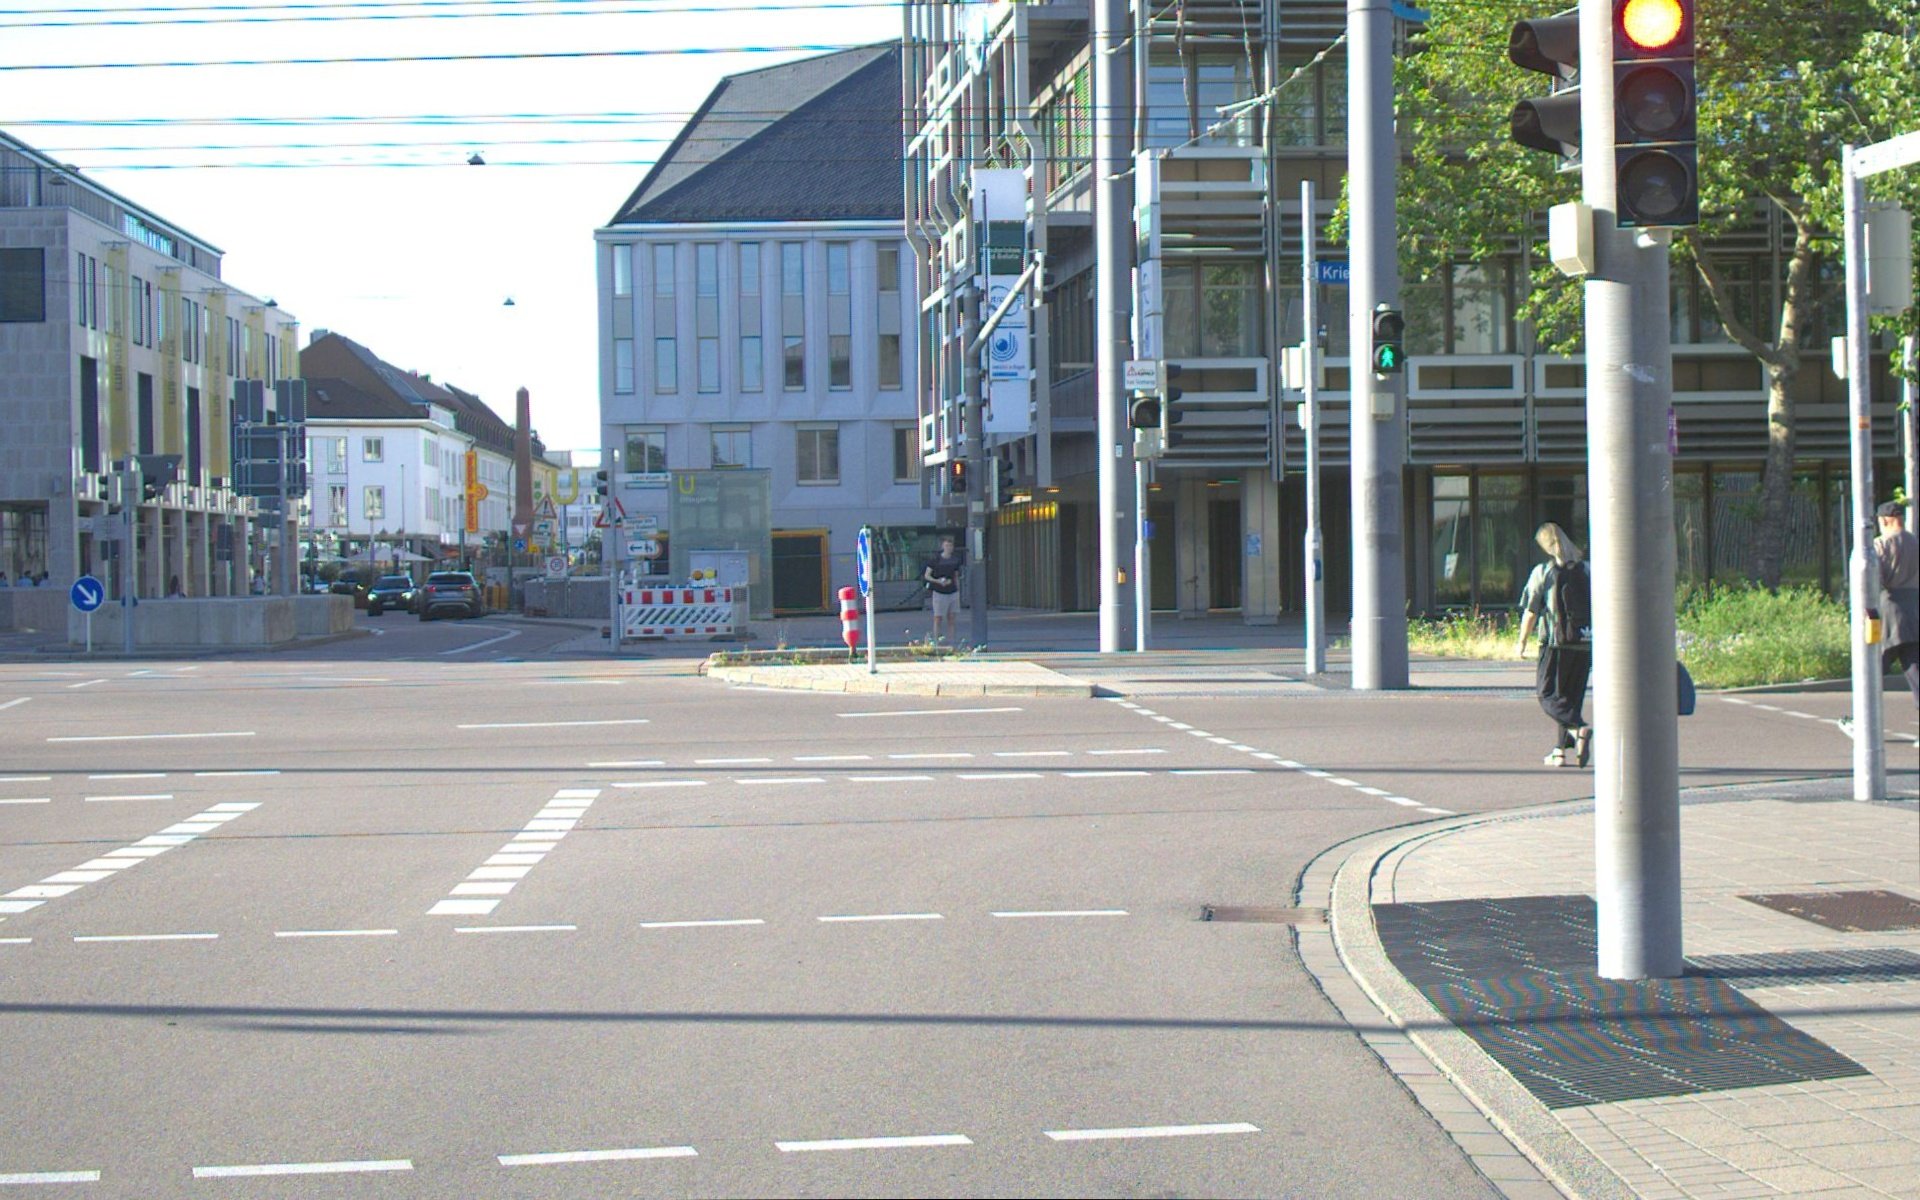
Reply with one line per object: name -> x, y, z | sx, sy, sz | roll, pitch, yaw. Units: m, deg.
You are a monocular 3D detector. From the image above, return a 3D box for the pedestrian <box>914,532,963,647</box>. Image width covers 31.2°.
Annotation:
pedestrian -> -0.366, -0.178, 57.326 | 0.788, 1.883, 0.644 | 1, 0, -1

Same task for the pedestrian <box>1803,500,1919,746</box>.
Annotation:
pedestrian -> 6.485, 0.155, 23.805 | 0.878, 1.659, 0.965 | 1, 0, -16

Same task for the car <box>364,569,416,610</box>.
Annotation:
car -> -23.979, -0.446, 144.781 | 1.797, 1.652, 4.001 | 1, 1, -4

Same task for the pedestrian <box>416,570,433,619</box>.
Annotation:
pedestrian -> -18.235, -0.192, 117.056 | 0.521, 1.674, 0.583 | 1, 1, -7

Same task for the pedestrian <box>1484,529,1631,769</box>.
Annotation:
pedestrian -> 3.775, 0.303, 21.770 | 0.788, 1.487, 0.644 | 1, 0, -1

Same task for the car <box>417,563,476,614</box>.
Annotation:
car -> -16.145, -0.373, 108.219 | 1.737, 1.525, 3.856 | 1, 1, -7
